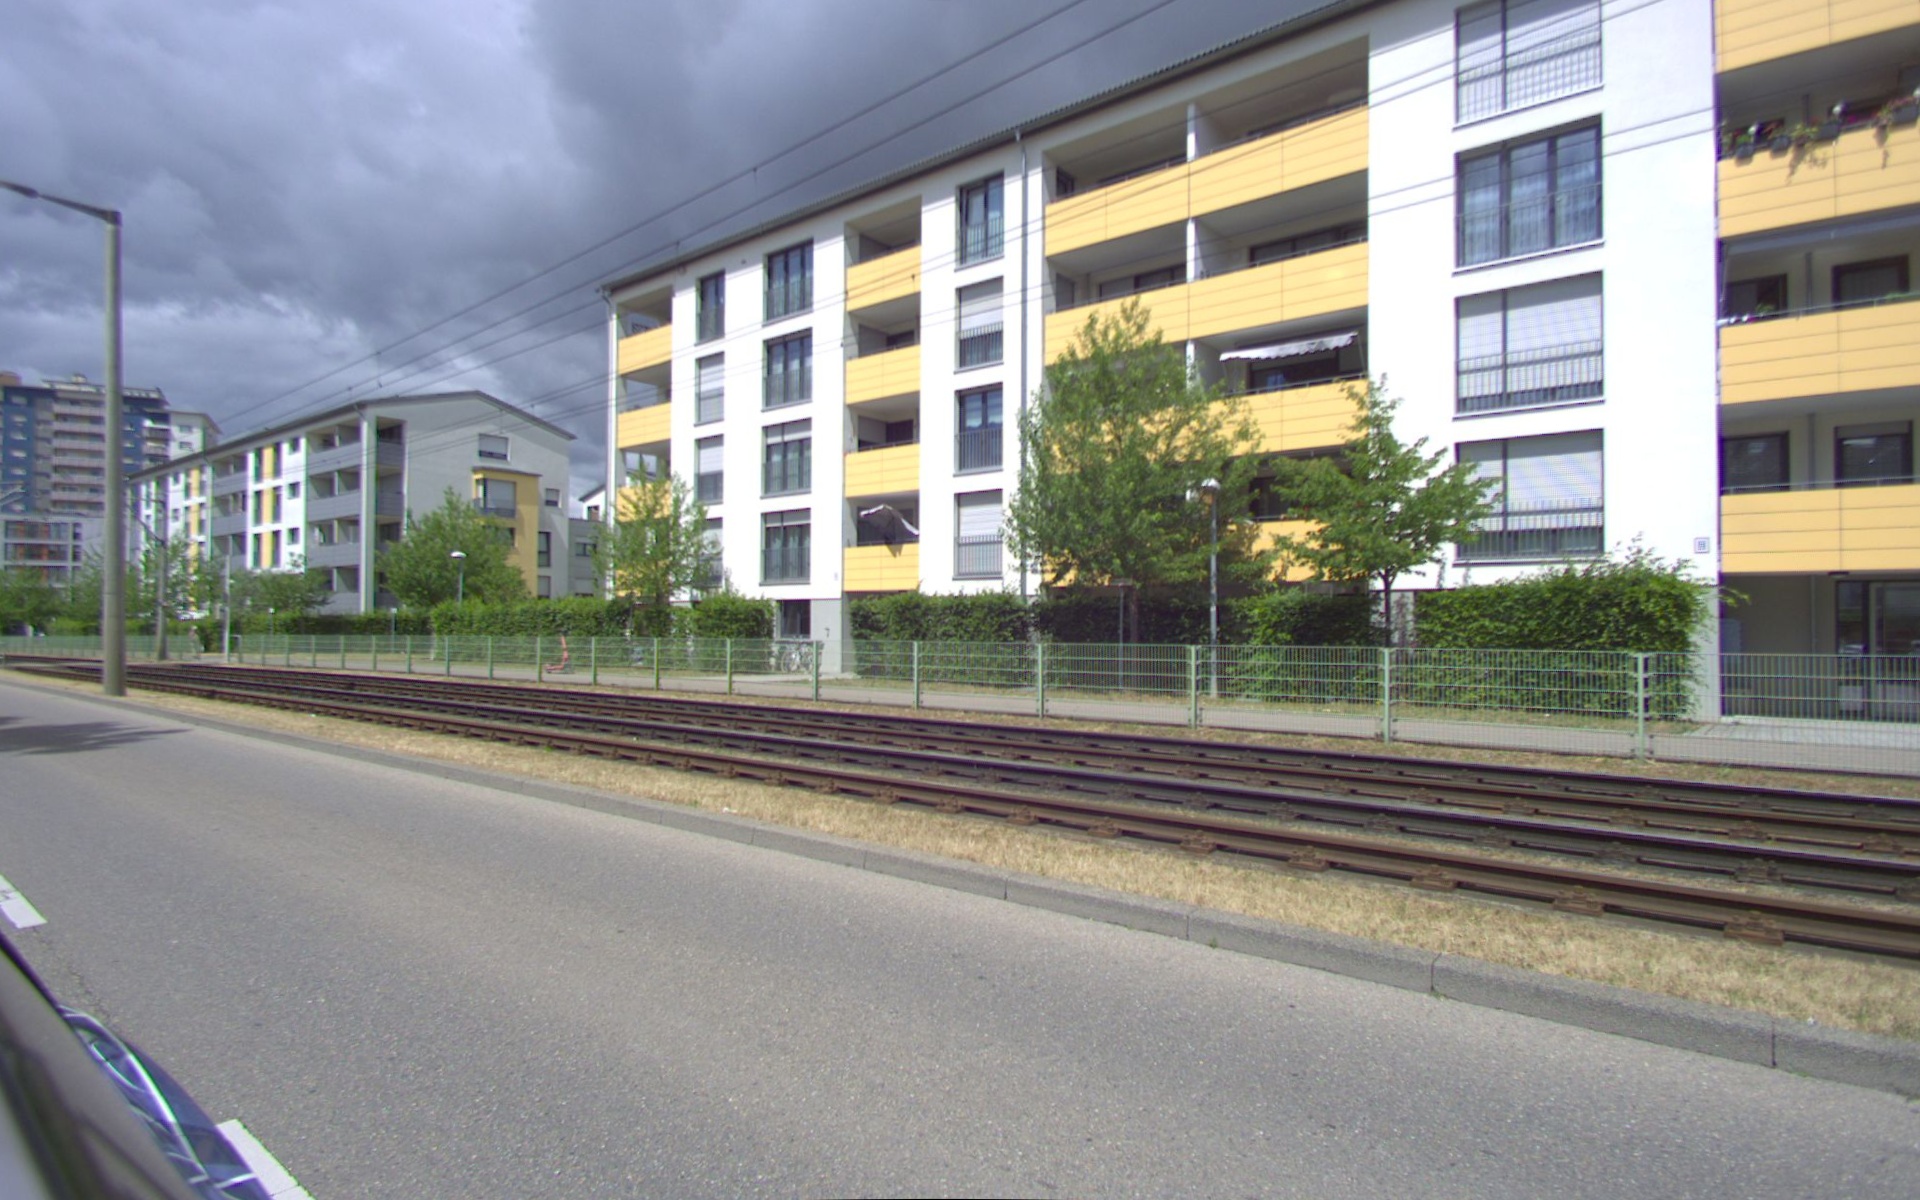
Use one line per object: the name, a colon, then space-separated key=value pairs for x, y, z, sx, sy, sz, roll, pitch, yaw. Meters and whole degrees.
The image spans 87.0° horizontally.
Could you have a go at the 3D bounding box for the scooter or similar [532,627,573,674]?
scooter or similar: x=-11.439 y=1.412 z=28.394 sx=1.300 sy=1.303 sz=0.485 roll=-2 pitch=-2 yaw=40

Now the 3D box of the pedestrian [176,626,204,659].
pedestrian: x=-35.436 y=1.967 z=46.591 sx=0.994 sy=1.494 sz=0.789 roll=-2 pitch=-2 yaw=37

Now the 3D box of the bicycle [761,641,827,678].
bicycle: x=-4.733 y=1.674 z=28.752 sx=2.212 sy=0.987 sz=0.549 roll=-2 pitch=-2 yaw=41

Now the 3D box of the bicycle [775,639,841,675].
bicycle: x=-4.395 y=1.618 z=29.142 sx=2.212 sy=0.987 sz=0.549 roll=-2 pitch=-2 yaw=41
